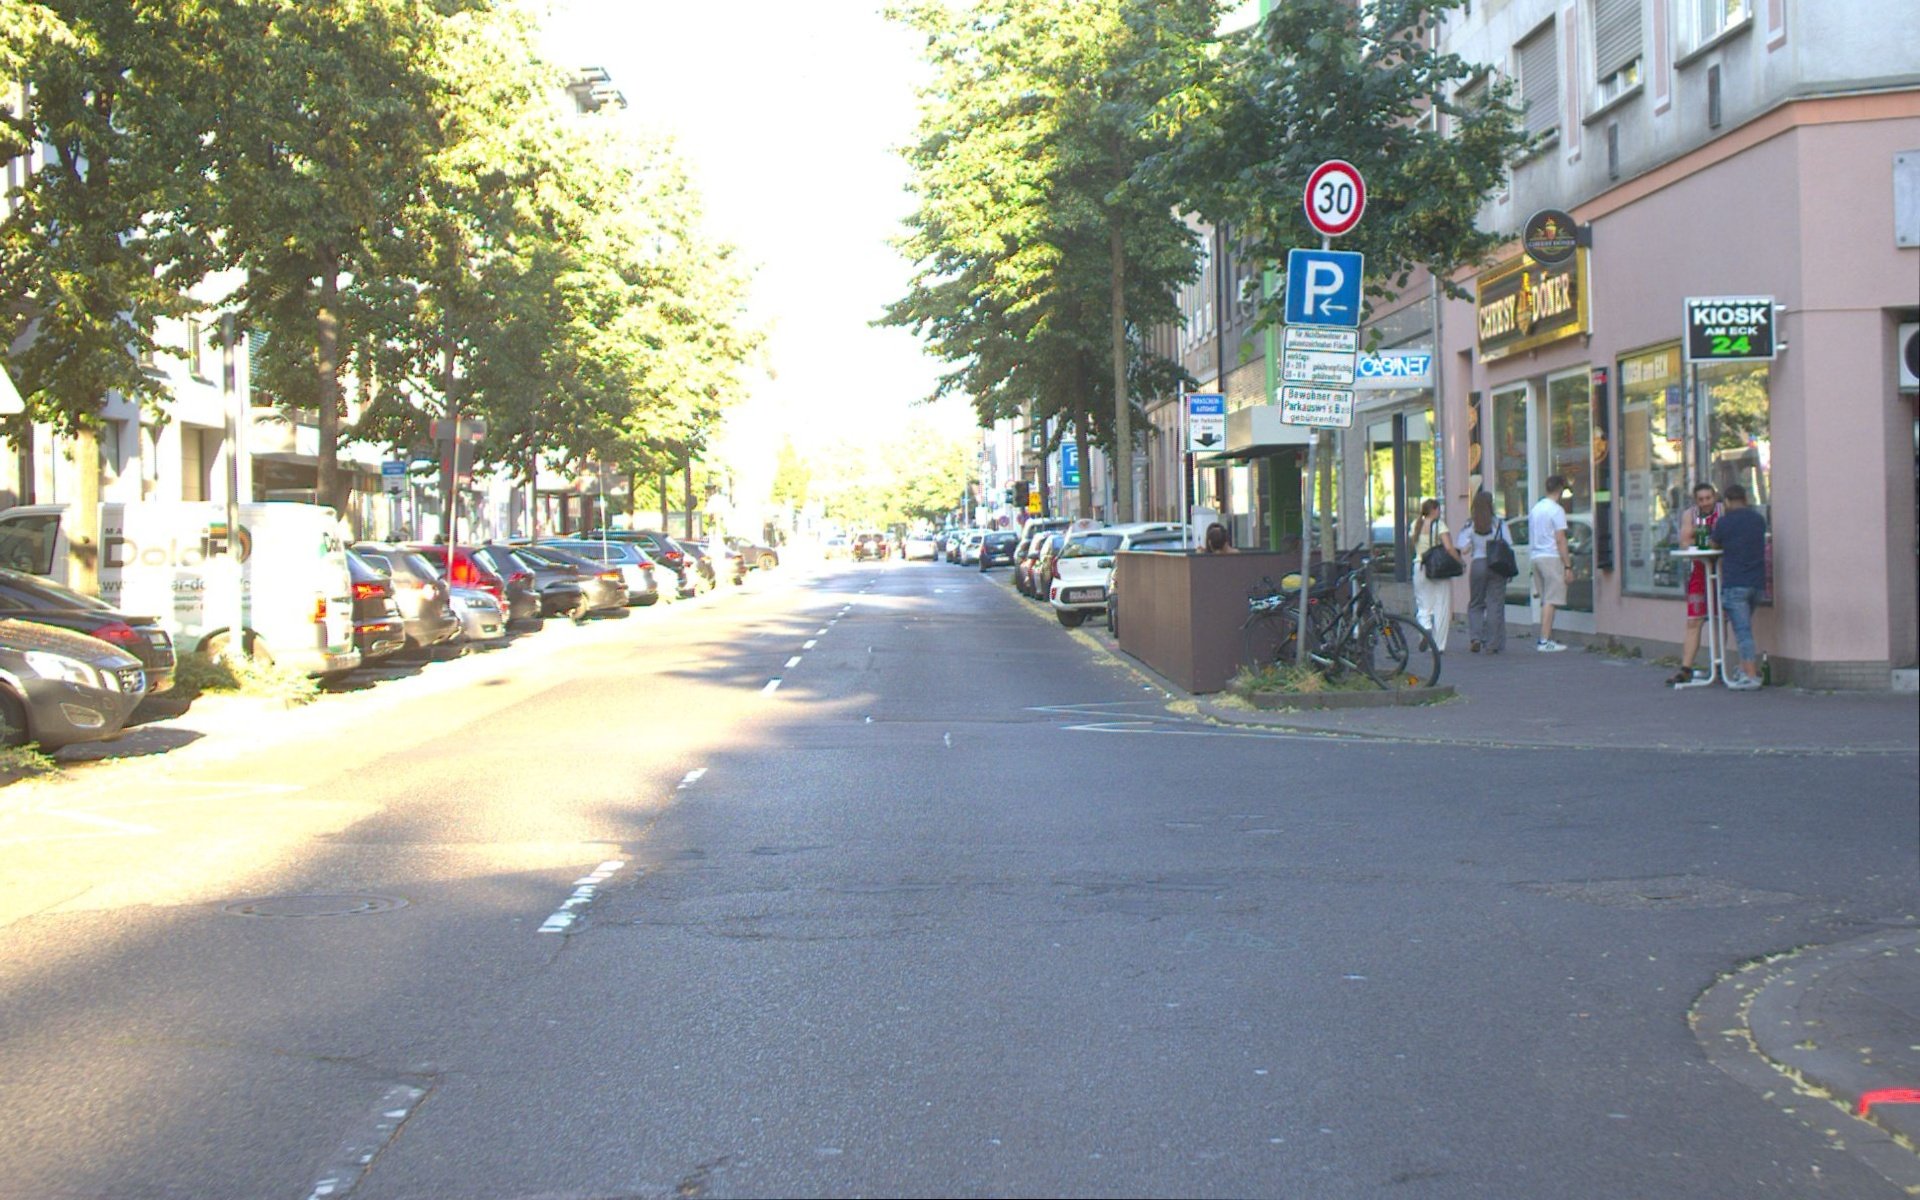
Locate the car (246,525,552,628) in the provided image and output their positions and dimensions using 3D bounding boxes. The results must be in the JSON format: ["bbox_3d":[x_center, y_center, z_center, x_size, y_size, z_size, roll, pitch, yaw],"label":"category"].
[{"bbox_3d":[-8.683,-0.371,53.506,4.442,1.562,1.919,0,1,0],"label":"car"}]

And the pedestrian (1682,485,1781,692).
[{"bbox_3d":[6.037,-0.100,26.911,0.567,1.578,0.663,-2,2,0],"label":"pedestrian"}]

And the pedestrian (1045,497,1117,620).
[{"bbox_3d":[1.902,-0.658,54.072,0.916,1.919,1.018,0,1,-10],"label":"pedestrian"}]

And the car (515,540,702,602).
[{"bbox_3d":[-8.695,-0.728,85.237,4.442,1.494,1.919,0,1,0],"label":"car"}]

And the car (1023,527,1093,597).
[{"bbox_3d":[2.206,-0.866,78.021,1.513,1.556,3.514,-1,1,0],"label":"car"}]

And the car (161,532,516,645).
[{"bbox_3d":[-8.309,-0.163,46.216,4.442,1.479,1.809,0,1,0],"label":"car"}]

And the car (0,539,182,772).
[{"bbox_3d":[-7.794,0.361,23.510,4.546,1.536,1.811,0,1,-1],"label":"car"}]

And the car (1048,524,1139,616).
[{"bbox_3d":[2.333,-0.540,60.563,1.513,1.572,3.218,-1,1,1],"label":"car"}]

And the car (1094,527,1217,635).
[{"bbox_3d":[2.666,-0.280,47.470,1.543,1.428,3.678,-1,1,1],"label":"car"}]

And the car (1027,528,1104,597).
[{"bbox_3d":[2.214,-0.793,72.638,1.513,1.401,3.837,-1,1,0],"label":"car"}]

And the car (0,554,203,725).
[{"bbox_3d":[-8.503,0.320,28.893,3.791,1.387,2.043,0,0,3],"label":"car"}]

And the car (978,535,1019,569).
[{"bbox_3d":[1.476,-1.825,131.980,1.513,1.271,3.304,-1,1,0],"label":"car"}]

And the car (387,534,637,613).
[{"bbox_3d":[-8.398,-0.508,64.743,4.442,1.444,1.919,0,1,0],"label":"car"}]

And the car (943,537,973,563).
[{"bbox_3d":[-0.096,-2.510,172.949,1.513,1.294,3.304,-1,1,0],"label":"car"}]

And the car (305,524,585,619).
[{"bbox_3d":[-8.678,-0.484,58.219,4.442,1.562,1.919,0,1,0],"label":"car"}]

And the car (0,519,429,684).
[{"bbox_3d":[-8.113,0.004,36.632,4.571,1.692,2.060,0,1,0],"label":"car"}]

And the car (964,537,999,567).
[{"bbox_3d":[0.941,-2.081,150.096,1.513,1.259,3.304,-1,1,0],"label":"car"}]

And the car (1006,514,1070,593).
[{"bbox_3d":[1.900,-1.135,84.318,1.513,1.858,4.235,-1,1,1],"label":"car"}]

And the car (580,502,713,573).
[{"bbox_3d":[-10.884,-2.175,119.544,4.442,2.426,1.919,0,1,0],"label":"car"}]

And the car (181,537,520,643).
[{"bbox_3d":[-8.556,-0.149,48.521,4.442,1.453,1.859,0,1,0],"label":"car"}]

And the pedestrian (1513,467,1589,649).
[{"bbox_3d":[5.924,-0.426,34.495,0.698,1.798,0.891,-1,1,8],"label":"pedestrian"}]

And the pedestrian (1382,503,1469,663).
[{"bbox_3d":[4.786,-0.180,35.305,0.797,1.620,0.912,-1,1,12],"label":"pedestrian"}]

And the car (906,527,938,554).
[{"bbox_3d":[-2.138,-3.381,194.998,1.721,1.470,3.304,-1,1,1],"label":"car"}]

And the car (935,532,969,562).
[{"bbox_3d":[-0.439,-2.842,184.186,1.752,1.535,3.304,-1,1,1],"label":"car"}]

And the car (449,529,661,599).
[{"bbox_3d":[-8.881,-0.796,75.656,4.442,1.517,1.919,0,1,0],"label":"car"}]

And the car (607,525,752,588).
[{"bbox_3d":[-8.932,-1.398,109.614,4.442,1.953,1.919,0,1,0],"label":"car"}]

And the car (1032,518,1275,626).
[{"bbox_3d":[2.983,-0.455,52.458,1.674,1.583,3.814,1,1,42],"label":"car"}]

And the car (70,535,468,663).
[{"bbox_3d":[-8.313,-0.021,41.647,4.442,1.501,1.845,0,1,0],"label":"car"}]

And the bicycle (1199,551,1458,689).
[{"bbox_3d":[2.964,0.153,27.740,1.957,1.070,0.704,0,1,31],"label":"bicycle"}]

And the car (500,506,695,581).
[{"bbox_3d":[-8.640,-1.341,82.110,4.442,1.753,1.919,0,1,0],"label":"car"}]

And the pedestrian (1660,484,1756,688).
[{"bbox_3d":[6.016,-0.124,27.676,0.567,1.594,0.663,-2,2,0],"label":"pedestrian"}]

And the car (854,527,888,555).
[{"bbox_3d":[-4.968,-3.282,192.299,1.752,1.535,3.304,-1,1,1],"label":"car"}]

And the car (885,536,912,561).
[{"bbox_3d":[-3.773,-3.155,212.312,1.570,1.500,3.304,-1,1,1],"label":"car"}]

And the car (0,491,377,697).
[{"bbox_3d":[-8.203,-0.072,33.892,4.571,1.955,1.991,0,1,-1],"label":"car"}]

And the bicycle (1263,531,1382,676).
[{"bbox_3d":[3.090,0.014,29.199,0.598,1.173,1.844,0,1,19],"label":"bicycle"}]

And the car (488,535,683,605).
[{"bbox_3d":[-8.689,-0.711,80.014,4.304,1.592,1.919,0,1,0],"label":"car"}]

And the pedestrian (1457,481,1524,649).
[{"bbox_3d":[5.406,-0.362,34.987,0.631,1.674,0.891,-1,1,10],"label":"pedestrian"}]

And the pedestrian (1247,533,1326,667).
[{"bbox_3d":[3.409,-0.011,35.933,0.726,1.373,0.781,-1,1,0],"label":"pedestrian"}]
